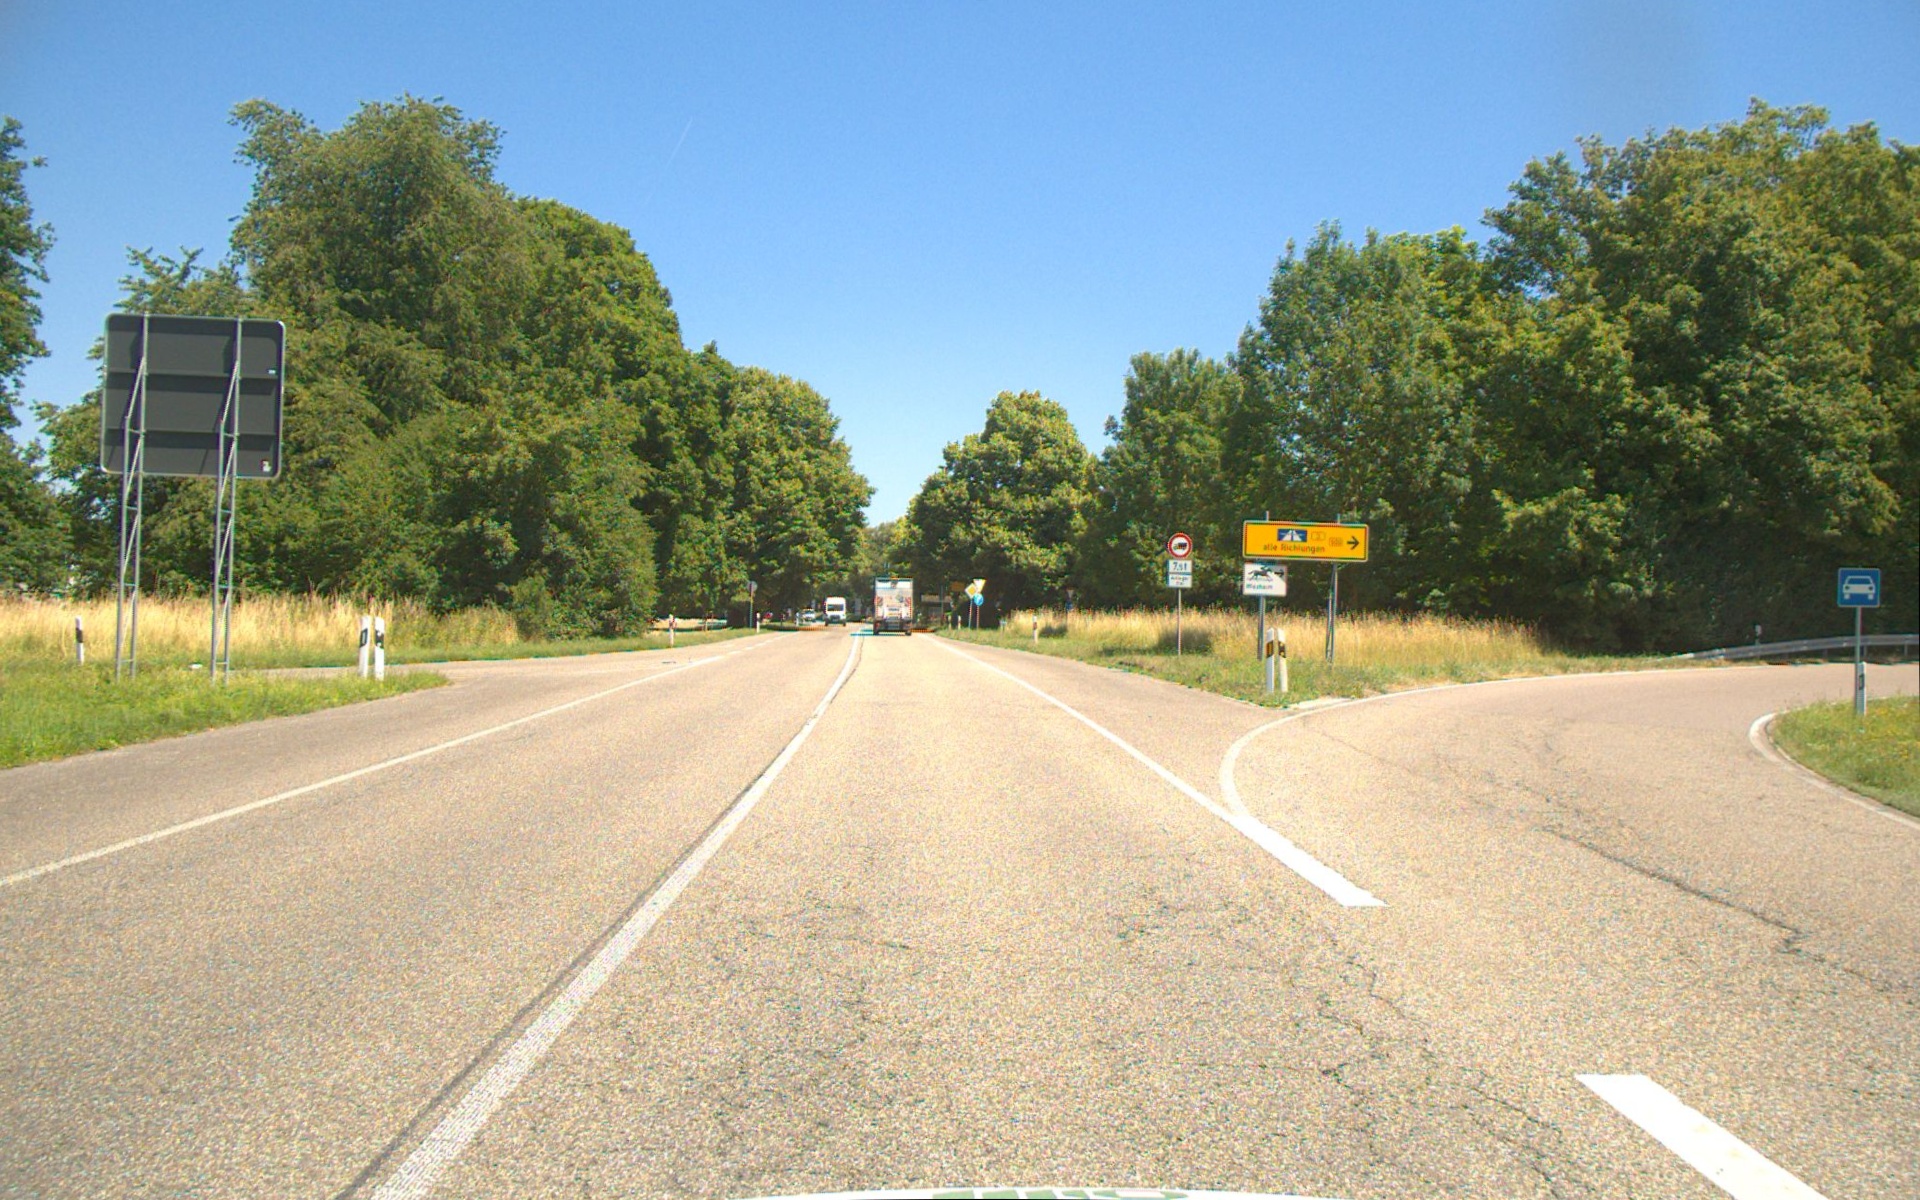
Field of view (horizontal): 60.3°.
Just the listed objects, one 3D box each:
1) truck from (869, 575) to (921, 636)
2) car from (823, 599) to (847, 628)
[{"bbox_3d":[-3.475,0.270,89.093,2.481,3.190,5.361,0,0,1],"label":"truck"},{"bbox_3d":[-12.063,1.332,159.991,2.031,2.674,6.781,0,-1,-2],"label":"car"}]
